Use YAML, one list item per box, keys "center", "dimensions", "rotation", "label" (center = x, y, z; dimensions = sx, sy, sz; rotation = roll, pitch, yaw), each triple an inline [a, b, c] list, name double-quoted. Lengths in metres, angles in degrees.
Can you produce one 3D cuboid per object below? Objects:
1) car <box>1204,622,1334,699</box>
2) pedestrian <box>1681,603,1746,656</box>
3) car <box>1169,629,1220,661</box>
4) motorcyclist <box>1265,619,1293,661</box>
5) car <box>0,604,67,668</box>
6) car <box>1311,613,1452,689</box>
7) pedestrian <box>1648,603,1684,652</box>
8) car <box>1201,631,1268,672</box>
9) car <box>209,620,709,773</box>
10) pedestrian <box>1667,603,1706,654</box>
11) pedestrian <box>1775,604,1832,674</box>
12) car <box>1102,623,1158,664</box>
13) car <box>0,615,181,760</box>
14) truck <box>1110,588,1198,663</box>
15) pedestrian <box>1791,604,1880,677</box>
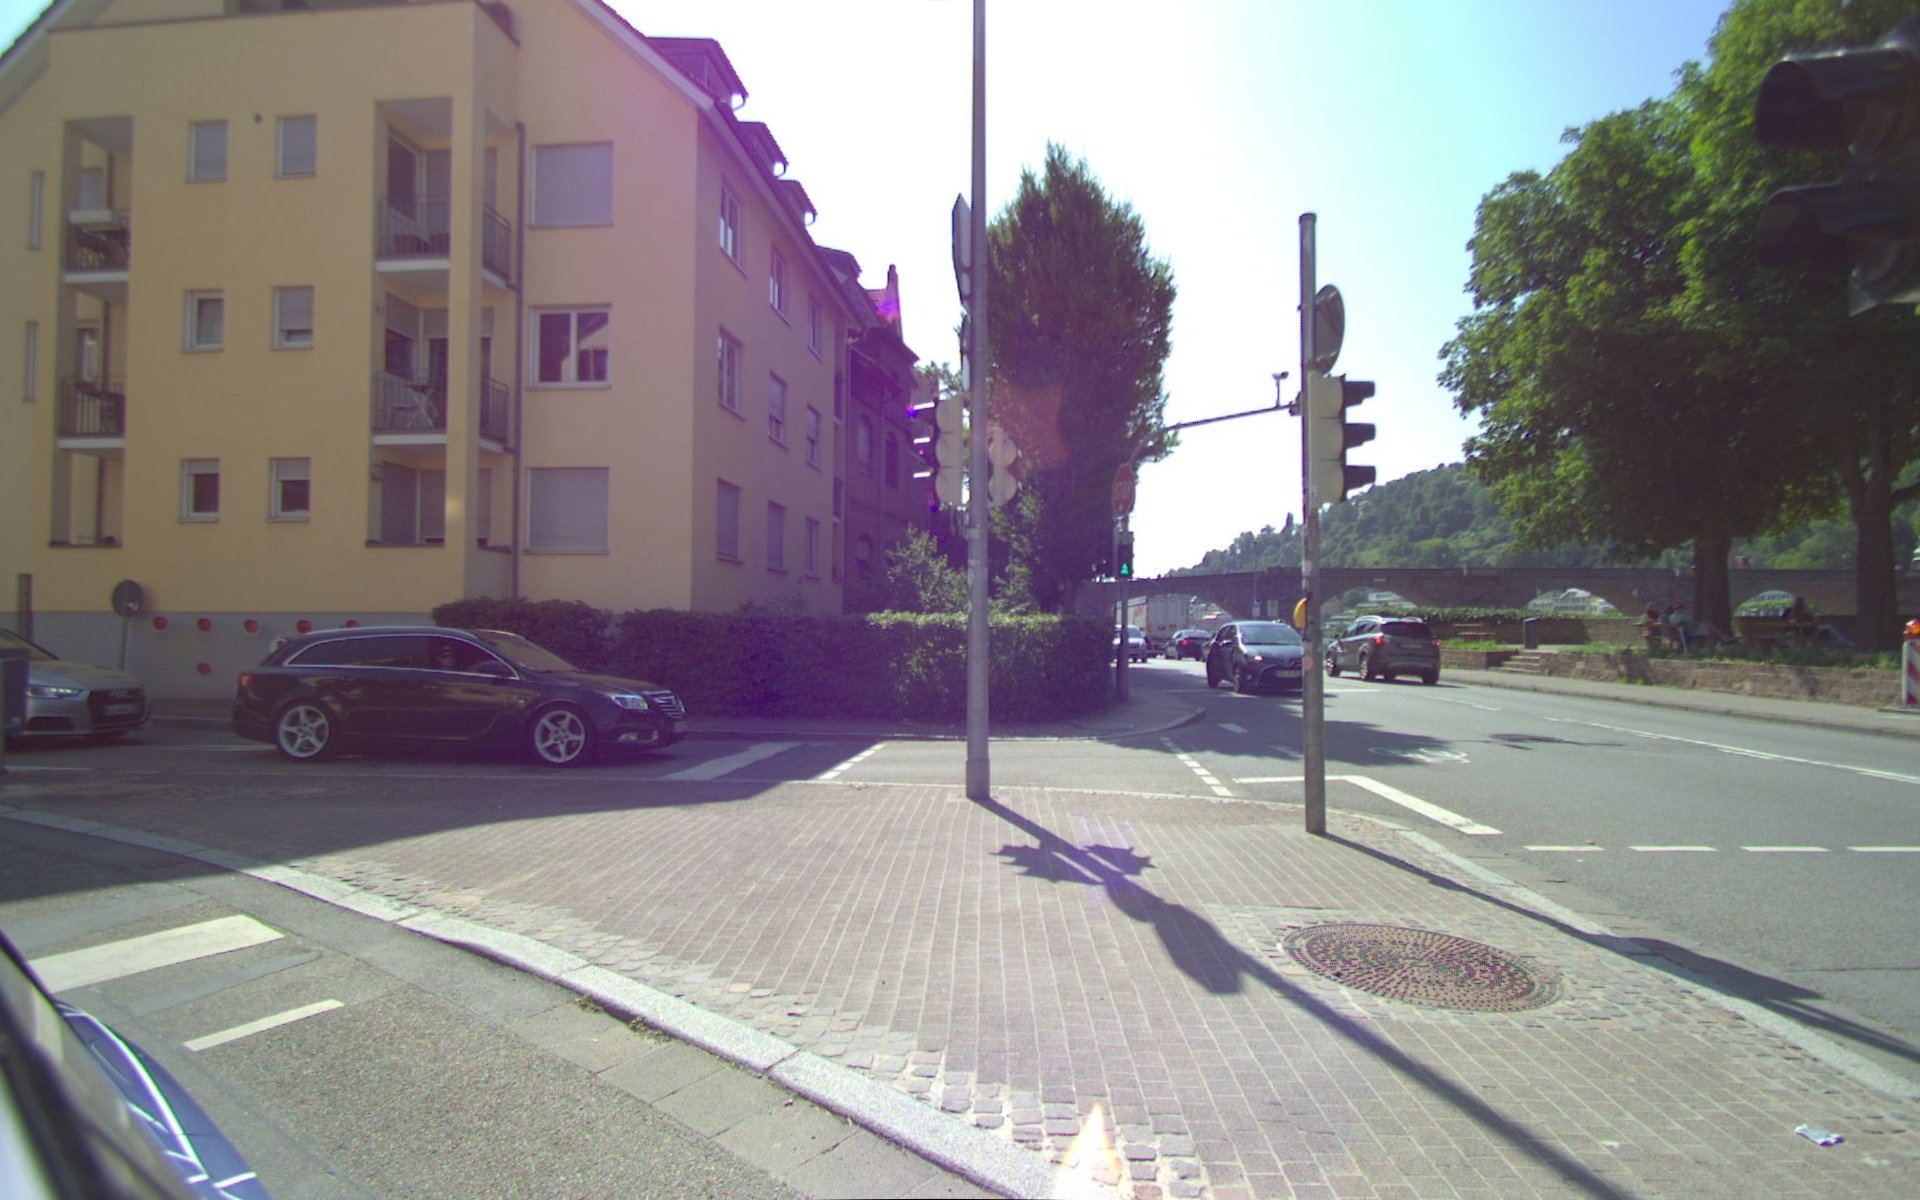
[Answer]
- center: [6.533, 1.237, 21.808]
  dimensions: [1.704, 1.510, 3.878]
  rotation: [0, -2, 2]
  label: "car"
- center: [18.753, 0.729, 25.192]
  dimensions: [1.209, 1.280, 0.467]
  rotation: [0, -2, 7]
  label: "pedestrian"
- center: [11.713, 2.208, 50.691]
  dimensions: [1.900, 1.519, 3.994]
  rotation: [0, -2, 4]
  label: "car"
- center: [11.720, 1.480, 37.208]
  dimensions: [0.807, 1.504, 0.773]
  rotation: [1, -2, 0]
  label: "motorcyclist"
- center: [-24.167, 0.877, 24.247]
  dimensions: [1.829, 1.556, 3.994]
  rotation: [0, -1, 5]
  label: "car"
- center: [11.120, 1.274, 27.047]
  dimensions: [1.818, 1.766, 4.409]
  rotation: [3, -1, 0]
  label: "car"
- center: [18.583, 0.730, 26.654]
  dimensions: [0.624, 1.280, 0.467]
  rotation: [0, -2, 7]
  label: "pedestrian"
- center: [11.497, 2.118, 42.668]
  dimensions: [1.975, 1.608, 3.994]
  rotation: [0, -2, 4]
  label: "car"
- center: [-5.319, 1.025, 11.147]
  dimensions: [4.661, 1.473, 1.718]
  rotation: [1, -4, 2]
  label: "car"
- center: [18.496, 0.729, 25.773]
  dimensions: [0.624, 1.280, 0.467]
  rotation: [0, -2, 7]
  label: "pedestrian"
- center: [18.300, 0.842, 21.967]
  dimensions: [0.795, 1.504, 0.467]
  rotation: [0, -2, 7]
  label: "pedestrian"
- center: [7.148, 1.817, 42.938]
  dimensions: [1.669, 1.623, 3.739]
  rotation: [-1, -1, 0]
  label: "car"
- center: [-11.771, 0.917, 11.571]
  dimensions: [4.324, 1.504, 1.876]
  rotation: [1, -2, 2]
  label: "car"
- center: [11.971, 1.648, 63.981]
  dimensions: [3.169, 4.246, 12.762]
  rotation: [0, -2, 0]
  label: "truck"
- center: [18.497, 0.849, 21.394]
  dimensions: [1.368, 1.490, 0.467]
  rotation: [0, -2, 7]
  label: "pedestrian"
